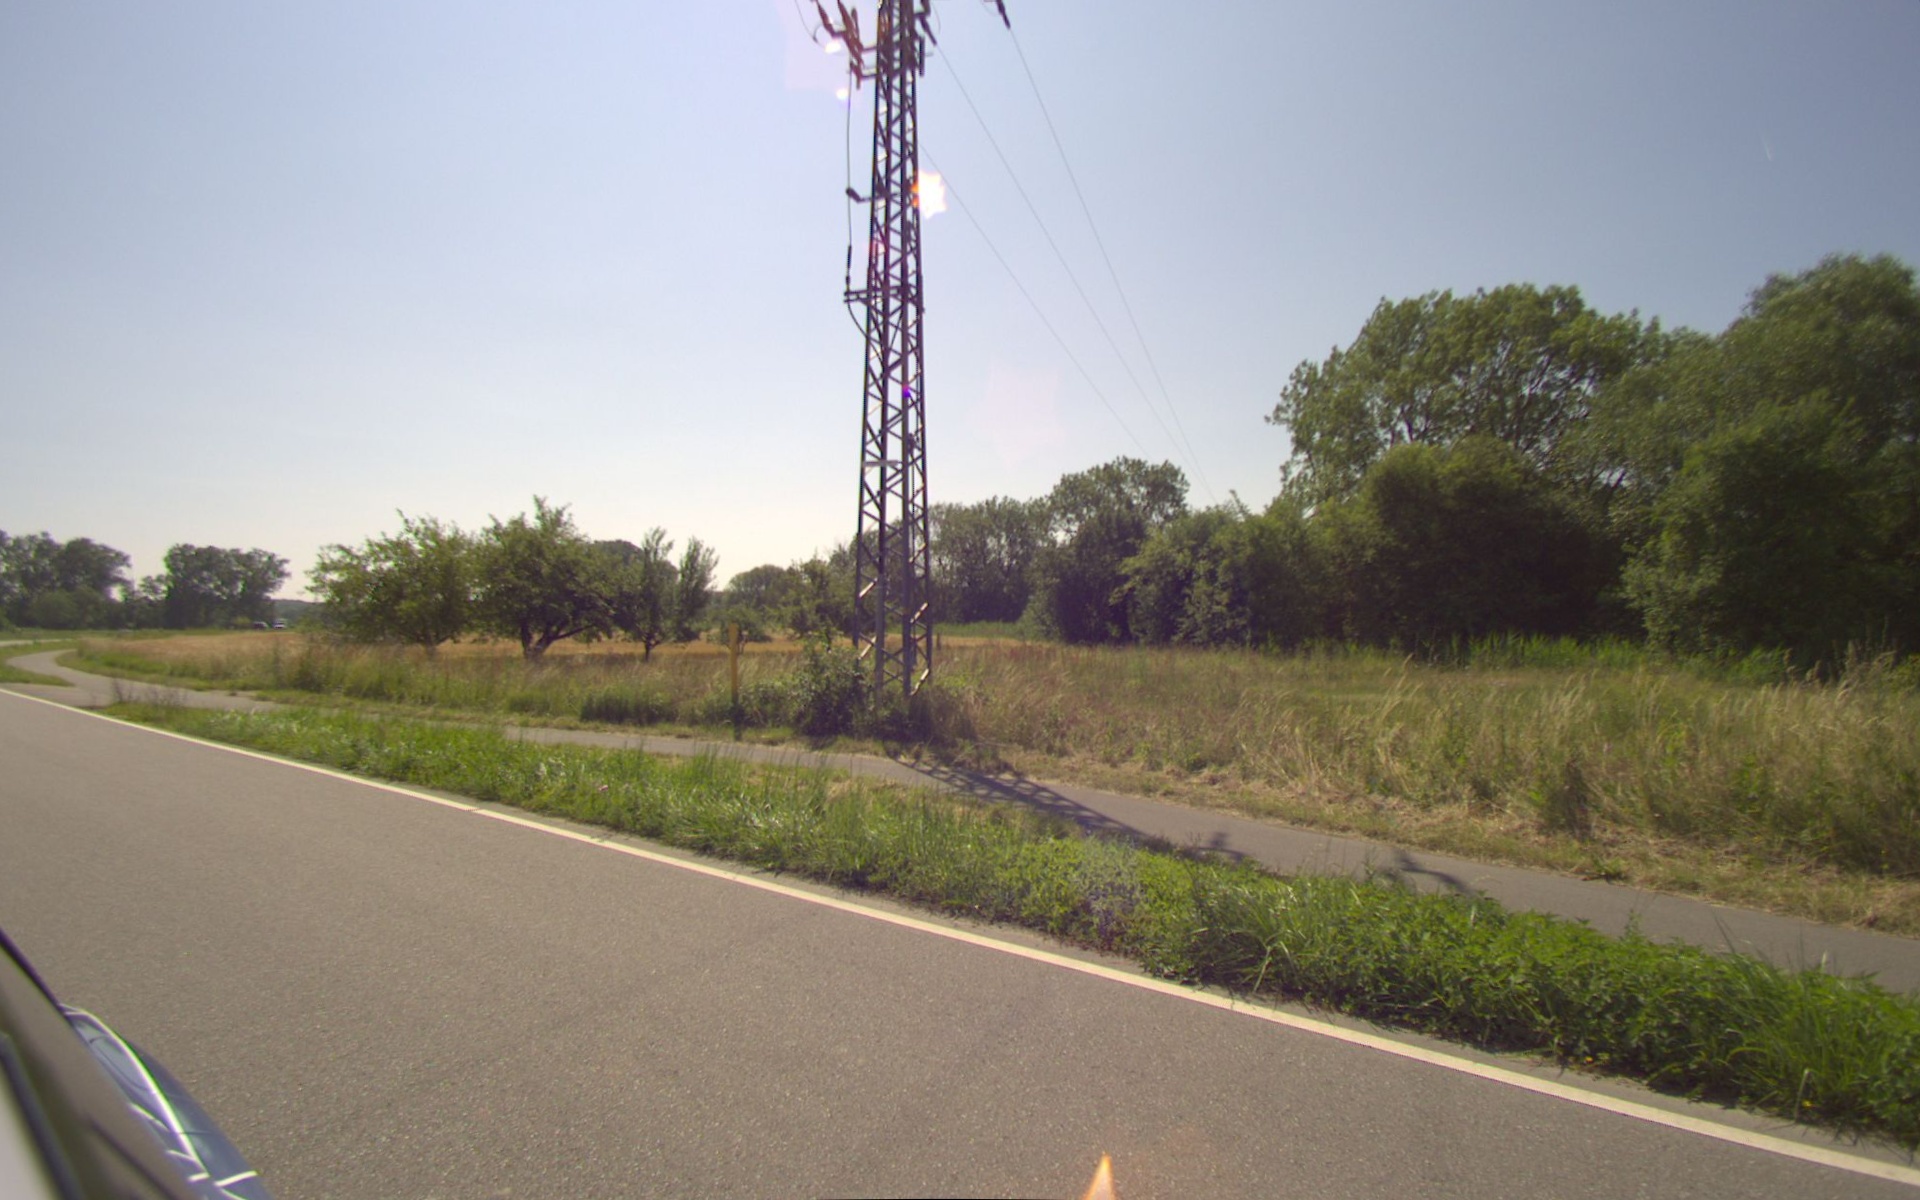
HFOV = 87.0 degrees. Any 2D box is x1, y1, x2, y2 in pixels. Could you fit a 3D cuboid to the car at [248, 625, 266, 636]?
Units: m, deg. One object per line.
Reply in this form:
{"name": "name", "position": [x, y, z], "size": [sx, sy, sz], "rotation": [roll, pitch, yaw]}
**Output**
{"name": "car", "position": [-120.407, 5.246, 173.392], "size": [1.860, 1.728, 4.027], "rotation": [2, -3, -27]}
